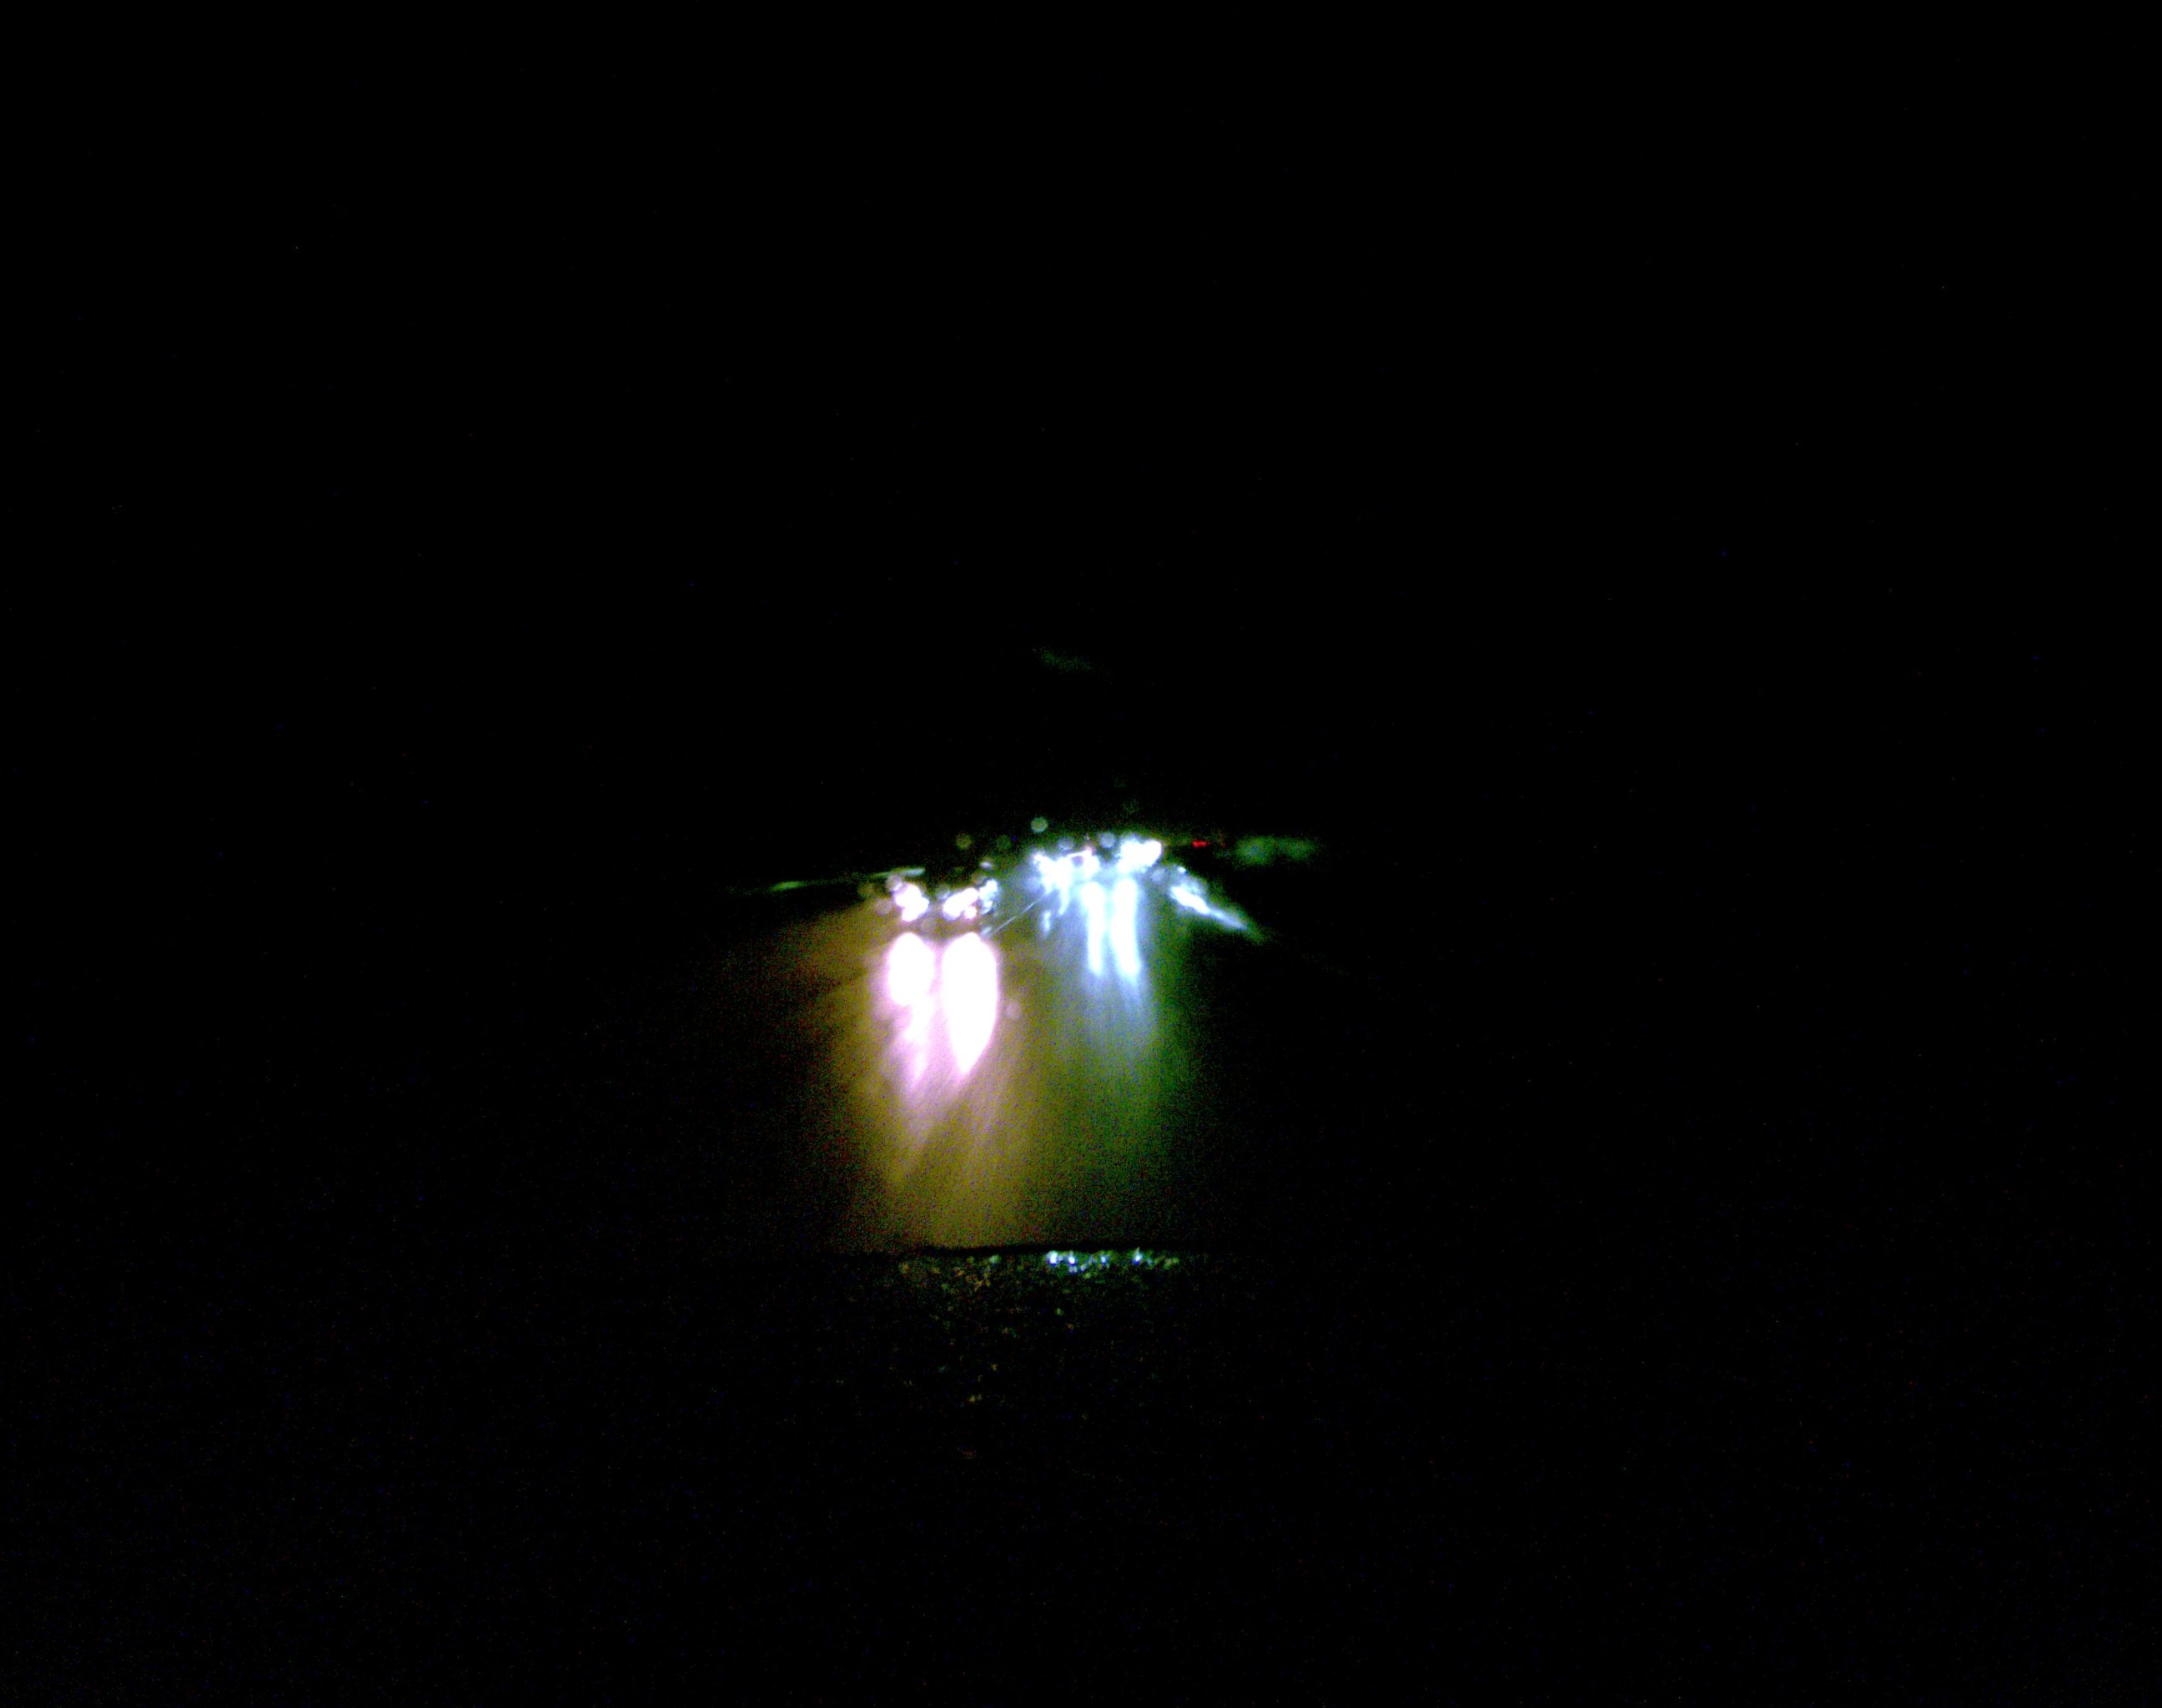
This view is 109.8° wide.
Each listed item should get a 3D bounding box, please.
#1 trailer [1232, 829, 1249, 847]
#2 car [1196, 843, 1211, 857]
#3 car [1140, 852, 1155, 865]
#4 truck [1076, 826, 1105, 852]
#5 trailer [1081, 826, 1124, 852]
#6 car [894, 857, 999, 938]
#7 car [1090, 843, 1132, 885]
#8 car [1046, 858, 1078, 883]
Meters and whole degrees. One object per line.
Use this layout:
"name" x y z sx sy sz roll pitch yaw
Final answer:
"trailer" 39.168 -3.923 187.136 2.934 3.726 9.506 -6 -1 7
"car" 20.658 -0.633 127.981 1.998 2.001 5.191 -6 -1 6
"car" 11.082 0.744 126.448 1.997 1.802 4.003 -7 -1 8
"truck" 1.591 -2.509 125.666 2.779 3.945 5.205 -7 -1 20
"trailer" 3.926 -2.653 131.927 2.743 3.954 13.837 -7 -1 20
"car" -3.112 0.940 18.439 1.805 1.608 4.256 -3 0 -1
"car" 1.705 0.549 41.740 1.998 2.001 4.002 -5 -1 4
"car" -1.327 1.174 55.097 1.847 1.614 3.680 -5 -1 4
